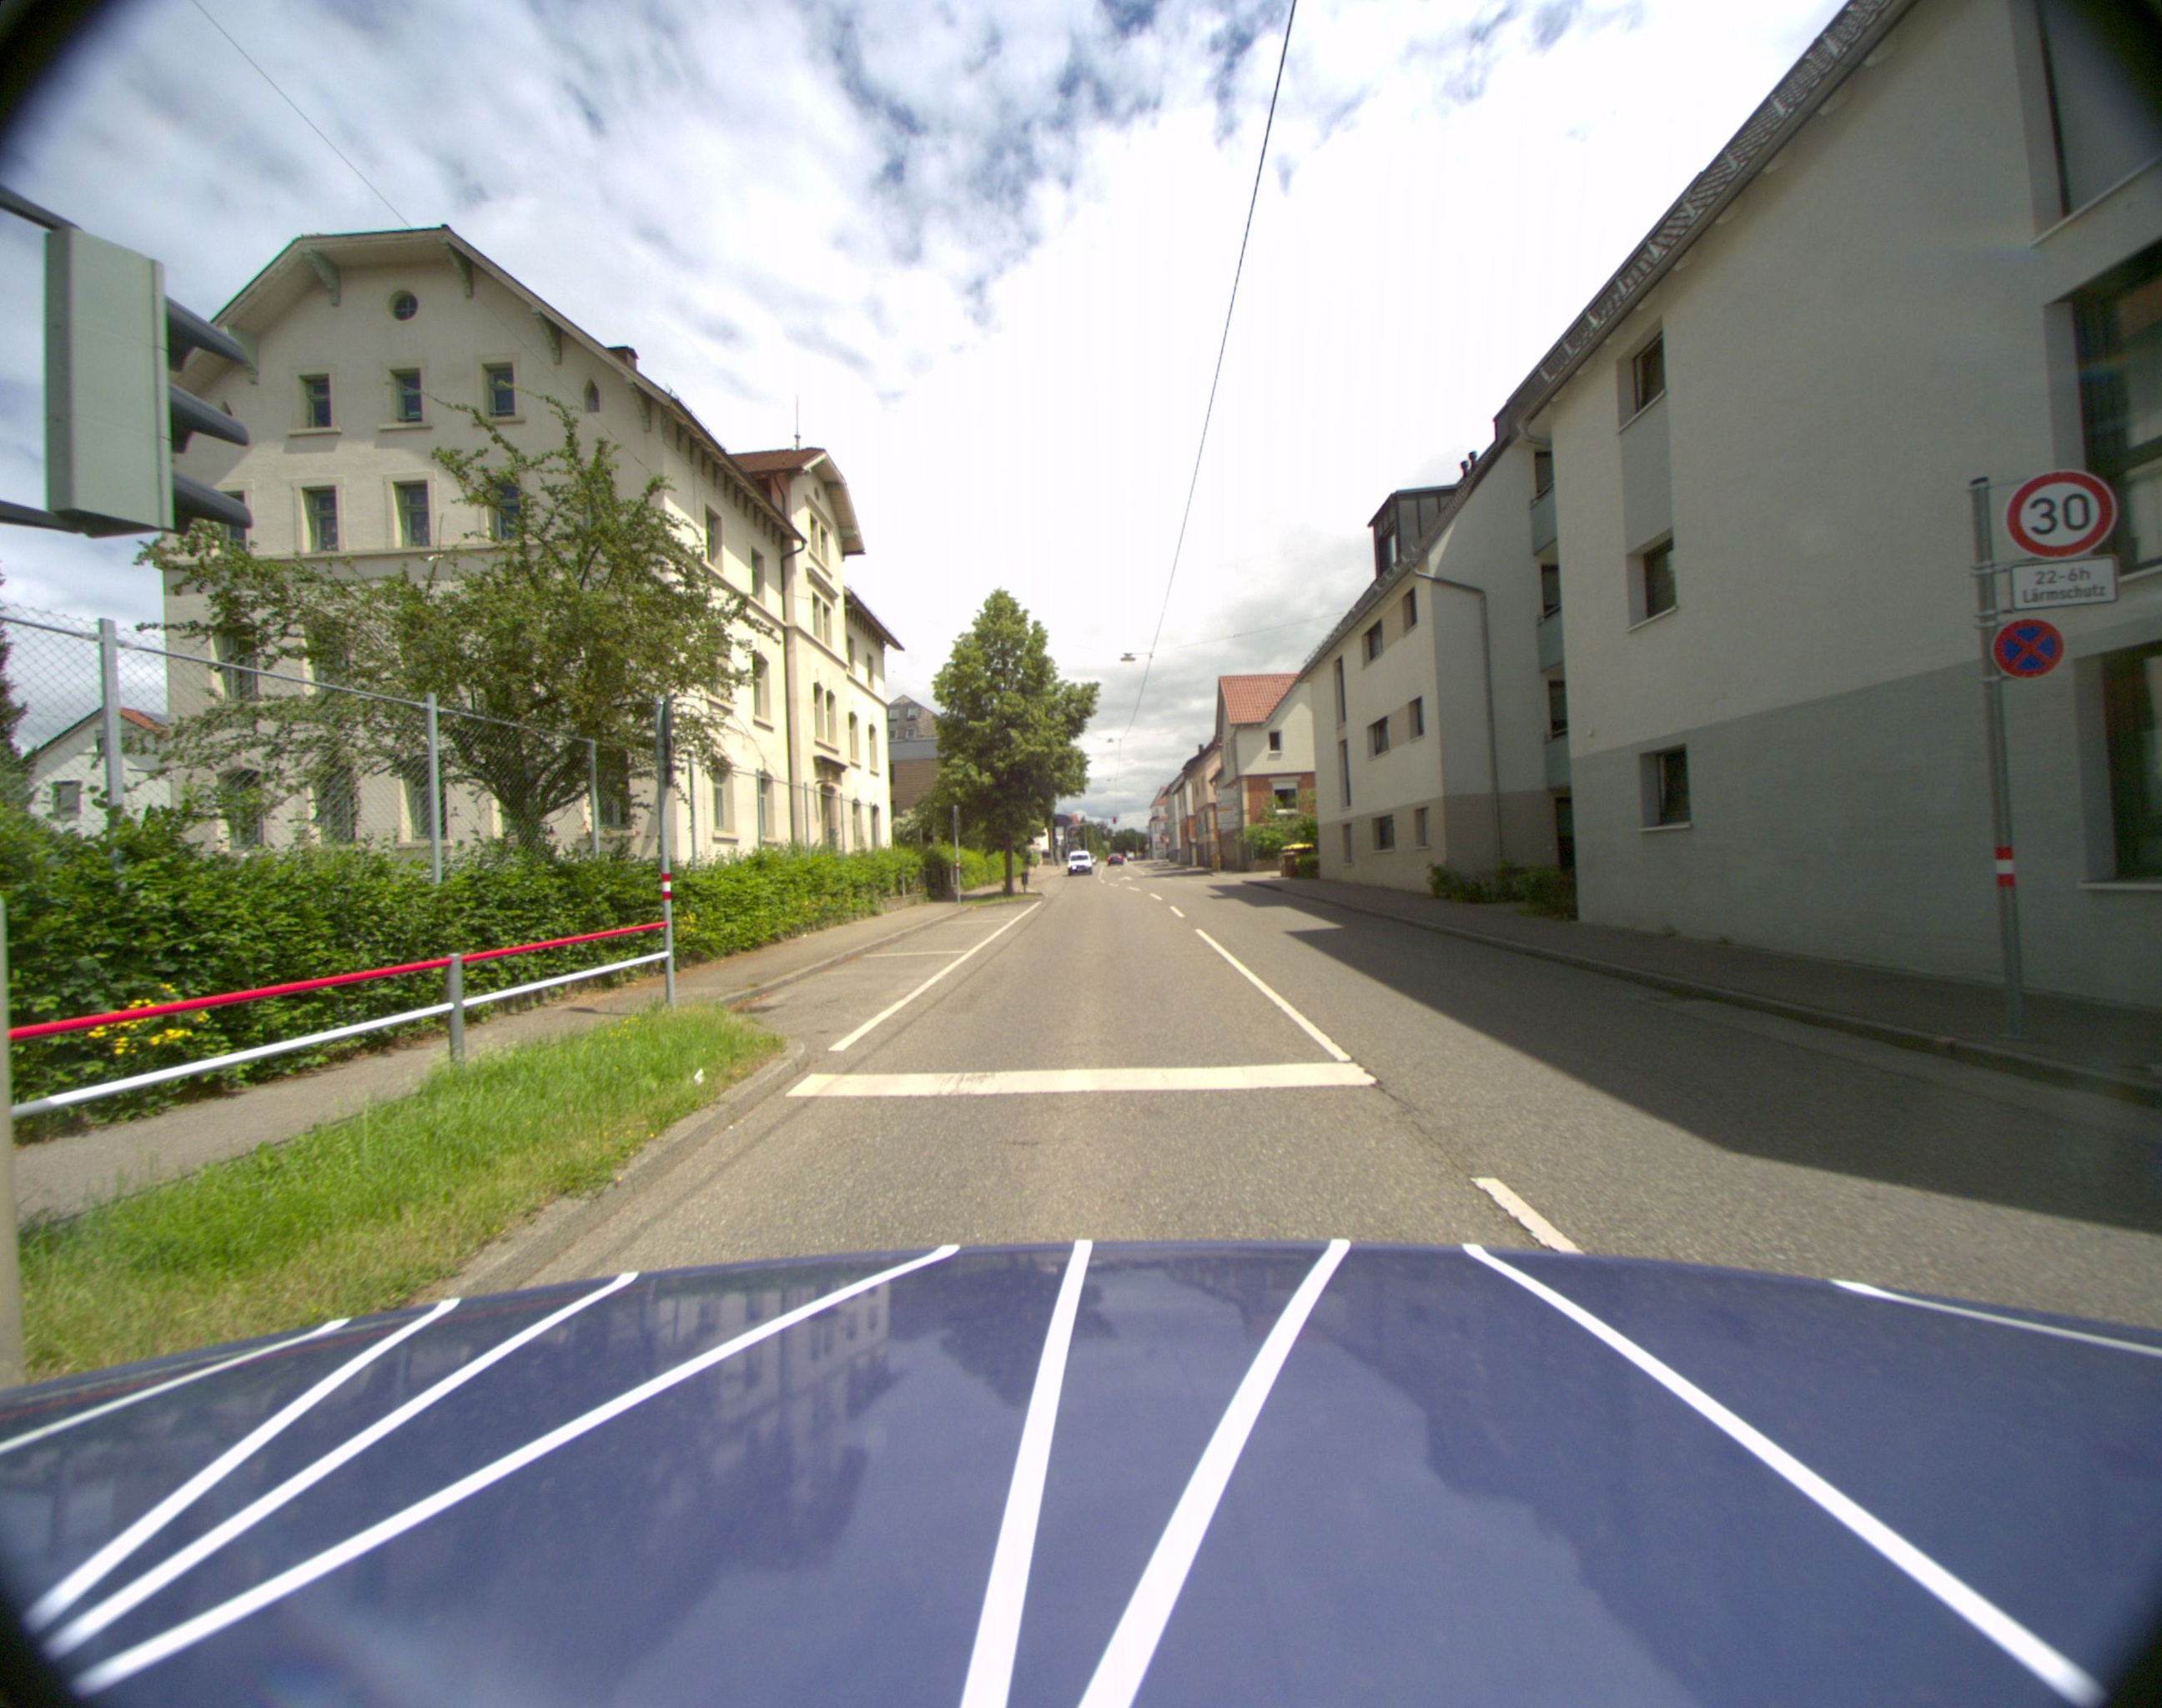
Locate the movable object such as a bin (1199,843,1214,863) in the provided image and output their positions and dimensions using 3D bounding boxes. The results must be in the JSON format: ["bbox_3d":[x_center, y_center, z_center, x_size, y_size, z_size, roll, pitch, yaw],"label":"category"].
[{"bbox_3d":[8.225,-0.076,49.813,0.766,1.155,0.802,-7,3,-2],"label":"movable object such as a bin"}]

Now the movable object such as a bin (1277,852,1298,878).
[{"bbox_3d":[8.735,0.453,32.214,0.642,1.069,0.660,-3,1,-1],"label":"movable object such as a bin"}]

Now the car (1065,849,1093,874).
[{"bbox_3d":[-0.104,0.522,58.008,1.893,1.718,4.293,-3,0,2],"label":"car"}]

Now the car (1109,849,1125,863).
[{"bbox_3d":[4.300,0.223,91.016,1.795,1.477,4.001,-4,-1,2],"label":"car"}]

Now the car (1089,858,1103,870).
[{"bbox_3d":[2.089,1.298,103.585,1.795,1.477,4.001,-4,-1,2],"label":"car"}]

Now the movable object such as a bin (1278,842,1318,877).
[{"bbox_3d":[9.588,0.240,33.682,1.338,1.437,1.170,-3,1,-2],"label":"movable object such as a bin"}]

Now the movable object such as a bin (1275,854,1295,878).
[{"bbox_3d":[8.845,0.523,32.960,0.642,0.995,0.657,-3,1,1],"label":"movable object such as a bin"}]
